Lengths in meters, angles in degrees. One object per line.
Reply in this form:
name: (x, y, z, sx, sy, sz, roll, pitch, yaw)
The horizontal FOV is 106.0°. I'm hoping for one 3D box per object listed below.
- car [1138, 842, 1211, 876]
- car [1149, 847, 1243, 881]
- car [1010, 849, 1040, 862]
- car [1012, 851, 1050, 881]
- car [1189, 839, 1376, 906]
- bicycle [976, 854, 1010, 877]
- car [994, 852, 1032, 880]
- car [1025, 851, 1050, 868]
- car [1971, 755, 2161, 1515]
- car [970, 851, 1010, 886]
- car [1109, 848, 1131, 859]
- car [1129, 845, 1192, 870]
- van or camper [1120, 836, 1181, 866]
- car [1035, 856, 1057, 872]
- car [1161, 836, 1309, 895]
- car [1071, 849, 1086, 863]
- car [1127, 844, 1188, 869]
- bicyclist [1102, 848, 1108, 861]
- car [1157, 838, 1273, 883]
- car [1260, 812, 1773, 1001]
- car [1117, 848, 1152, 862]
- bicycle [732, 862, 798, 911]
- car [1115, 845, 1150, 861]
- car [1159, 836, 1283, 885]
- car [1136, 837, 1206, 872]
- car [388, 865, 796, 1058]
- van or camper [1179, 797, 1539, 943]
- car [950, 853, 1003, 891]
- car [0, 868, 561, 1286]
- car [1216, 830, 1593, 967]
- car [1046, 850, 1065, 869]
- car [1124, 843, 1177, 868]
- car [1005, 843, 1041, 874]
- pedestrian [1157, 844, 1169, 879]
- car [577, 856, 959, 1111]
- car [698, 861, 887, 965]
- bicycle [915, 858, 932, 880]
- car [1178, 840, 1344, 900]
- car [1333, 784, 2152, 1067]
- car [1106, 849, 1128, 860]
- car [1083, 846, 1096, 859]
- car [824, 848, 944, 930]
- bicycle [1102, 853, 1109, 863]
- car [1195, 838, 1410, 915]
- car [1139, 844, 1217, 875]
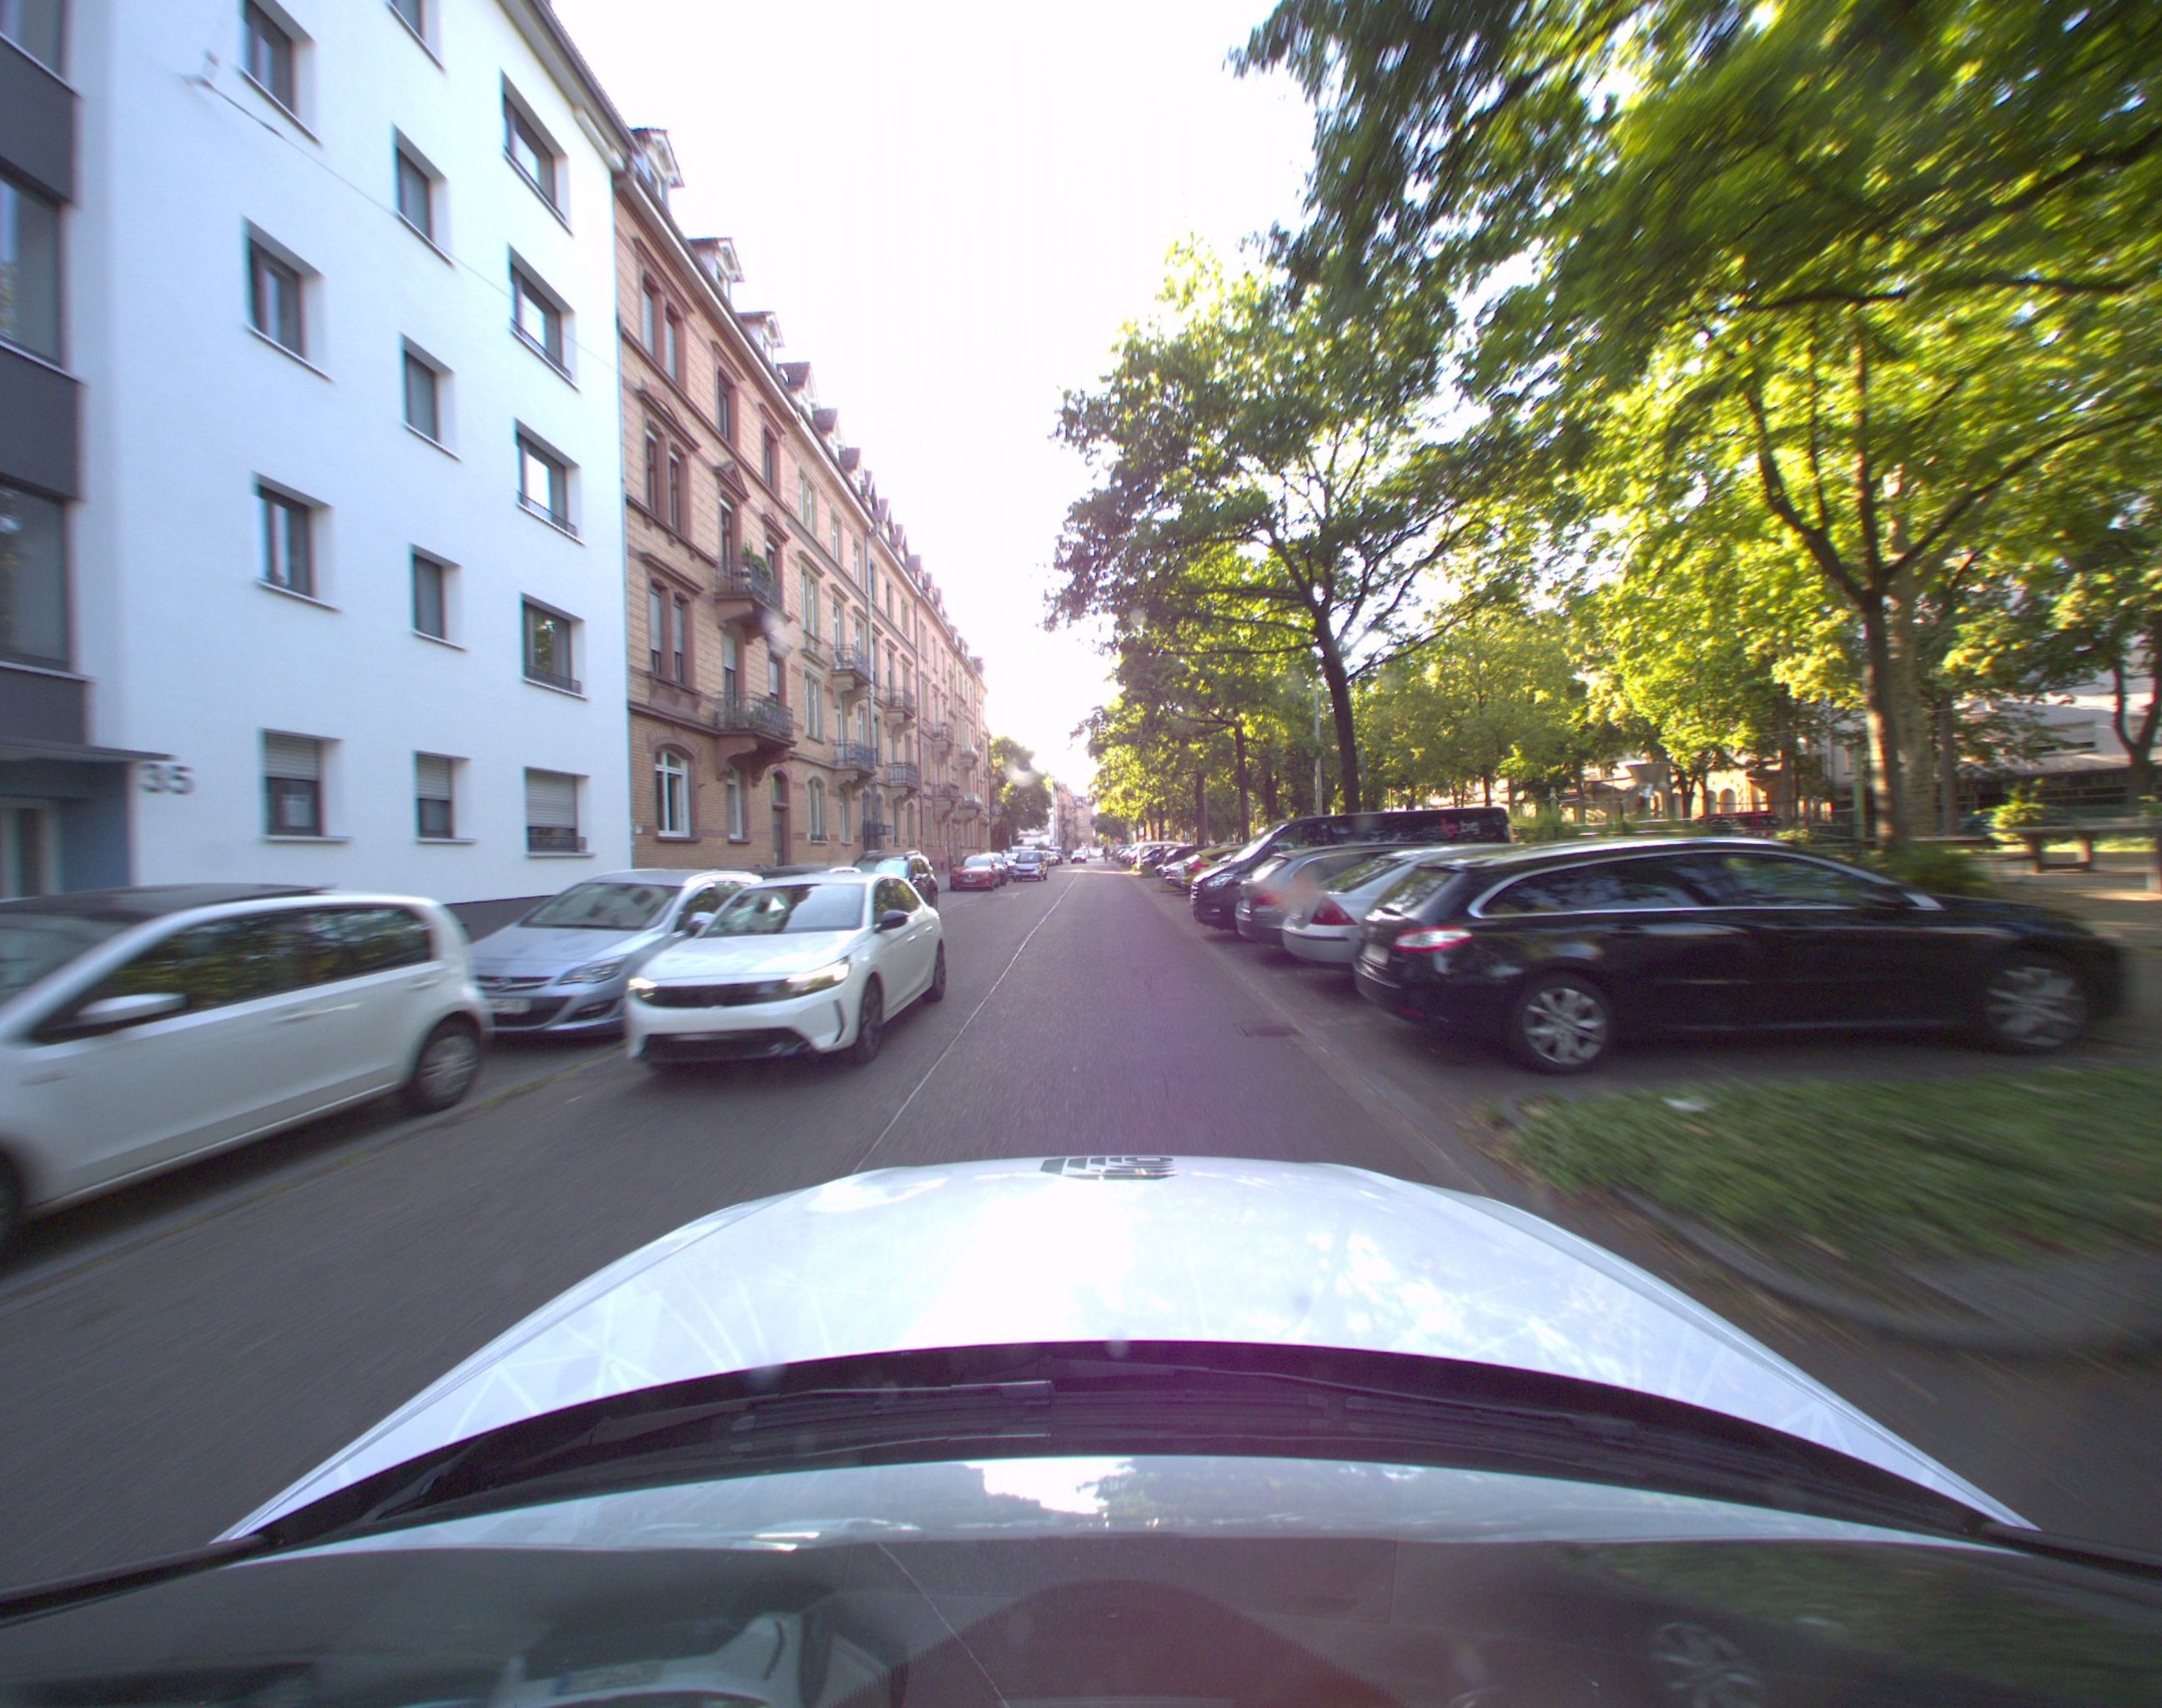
car: (4.947, 0.250, 43.423, 3.660, 1.501, 1.762, -4, 0, 2)
car: (4.952, 0.423, 35.539, 3.830, 1.279, 1.690, -3, 0, 0)
car: (-7.913, 0.224, 115.238, 3.971, 1.706, 2.001, -1, -2, 2)
car: (-2.571, 0.585, 42.522, 1.497, 1.435, 2.757, -3, 0, 6)
car: (5.085, 0.472, 21.037, 4.380, 1.440, 1.839, -3, -1, 3)
bicycle: (-4.713, 0.627, 43.774, 1.757, 1.215, 0.428, -1, -2, 0)
car: (-3.948, 0.663, 48.031, 1.668, 1.454, 4.212, -3, 0, 2)
car: (-3.699, 0.472, 70.078, 1.697, 1.429, 3.880, 0, 0, 3)
car: (4.170, 0.510, 1.196, 3.768, 1.646, 1.665, -3, -1, 1)
car: (-4.289, 0.664, 38.752, 1.744, 1.546, 4.144, 0, 0, -5)
car: (7.507, -0.069, 156.165, 3.960, 2.014, 2.007, -1, -2, 12)
car: (5.449, 0.231, 55.856, 4.200, 1.453, 1.651, -4, 0, 5)
van or camper: (5.796, -0.251, 68.389, 4.966, 2.377, 2.184, -1, -2, -1)
car: (-3.430, 0.993, 80.611, 1.748, 1.466, 4.273, -1, 0, 4)
car: (4.875, 0.363, 26.237, 4.385, 1.591, 1.838, -3, -1, 0)
car: (-0.299, 0.219, 94.892, 1.663, 1.464, 4.000, -3, 0, 0)
car: (5.458, 0.184, 58.752, 4.204, 1.453, 1.866, -4, 0, 2)
bicyclist: (2.785, 0.064, 93.620, 0.625, 1.573, 0.802, -1, -2, 0)
car: (5.483, 0.274, 33.609, 4.390, 1.591, 1.835, -3, -1, -4)
car: (4.255, 0.524, 8.523, 4.380, 1.577, 1.666, -3, -1, 3)
car: (6.245, 0.092, 95.999, 3.976, 1.563, 1.857, -1, -2, -2)
bicycle: (-8.646, 0.853, 22.401, 0.734, 1.206, 2.515, -1, 1, 2)
car: (6.213, -0.105, 98.674, 3.976, 1.794, 1.857, -1, -2, -2)
car: (5.263, 0.258, 31.010, 4.382, 1.591, 1.838, -3, -1, 2)
car: (5.641, 0.039, 51.334, 4.204, 1.864, 1.762, -4, 0, 2)
car: (-4.744, 0.902, 8.786, 1.662, 1.471, 4.286, 1, 0, 2)
van or camper: (4.471, 0.248, 13.844, 5.391, 2.027, 2.031, -3, 1, 3)
car: (-4.294, 0.722, 34.011, 1.748, 1.464, 3.999, 0, 0, -1)
car: (-4.949, 0.889, 4.364, 1.662, 1.508, 4.001, 1, 0, 1)
car: (4.236, 0.575, 11.162, 4.388, 1.501, 1.836, -3, -1, -2)
car: (-2.948, 0.619, 94.803, 1.951, 2.018, 4.268, -1, 0, 1)
car: (5.427, 0.082, 63.832, 3.972, 1.691, 1.860, -4, 0, 2)
car: (-3.769, 0.365, 53.883, 1.987, 1.921, 5.039, -1, -1, 0)
pedestrian: (3.827, 0.350, 38.112, 0.377, 1.584, 0.522, -2, 2, 20)
car: (-2.341, 0.856, 7.315, 1.662, 1.430, 4.002, -5, 1, 2)
car: (-4.739, 0.889, 14.029, 1.609, 1.451, 4.004, 0, 0, 4)
bicycle: (-8.383, 0.800, 43.508, 0.425, 1.130, 1.771, -1, -1, 5)
car: (5.078, 0.459, 23.476, 4.380, 1.440, 1.839, -3, -1, 3)
car: (4.276, 0.495, 5.923, 4.377, 1.577, 1.667, -3, -1, 6)
car: (7.003, 0.024, 159.704, 3.960, 2.014, 2.007, -1, -2, 12)
car: (1.329, -0.245, 130.478, 1.987, 1.838, 3.999, -1, -1, 0)
car: (-4.516, 0.736, 19.315, 1.745, 1.706, 4.201, -1, 0, 1)
bicycle: (2.807, 0.479, 93.632, 0.639, 1.100, 1.943, -1, -1, 0)
car: (4.957, 0.492, 18.638, 4.385, 1.440, 1.837, -3, -1, 0)
car: (5.410, 0.274, 45.755, 4.070, 1.442, 1.760, -4, 0, -2)
